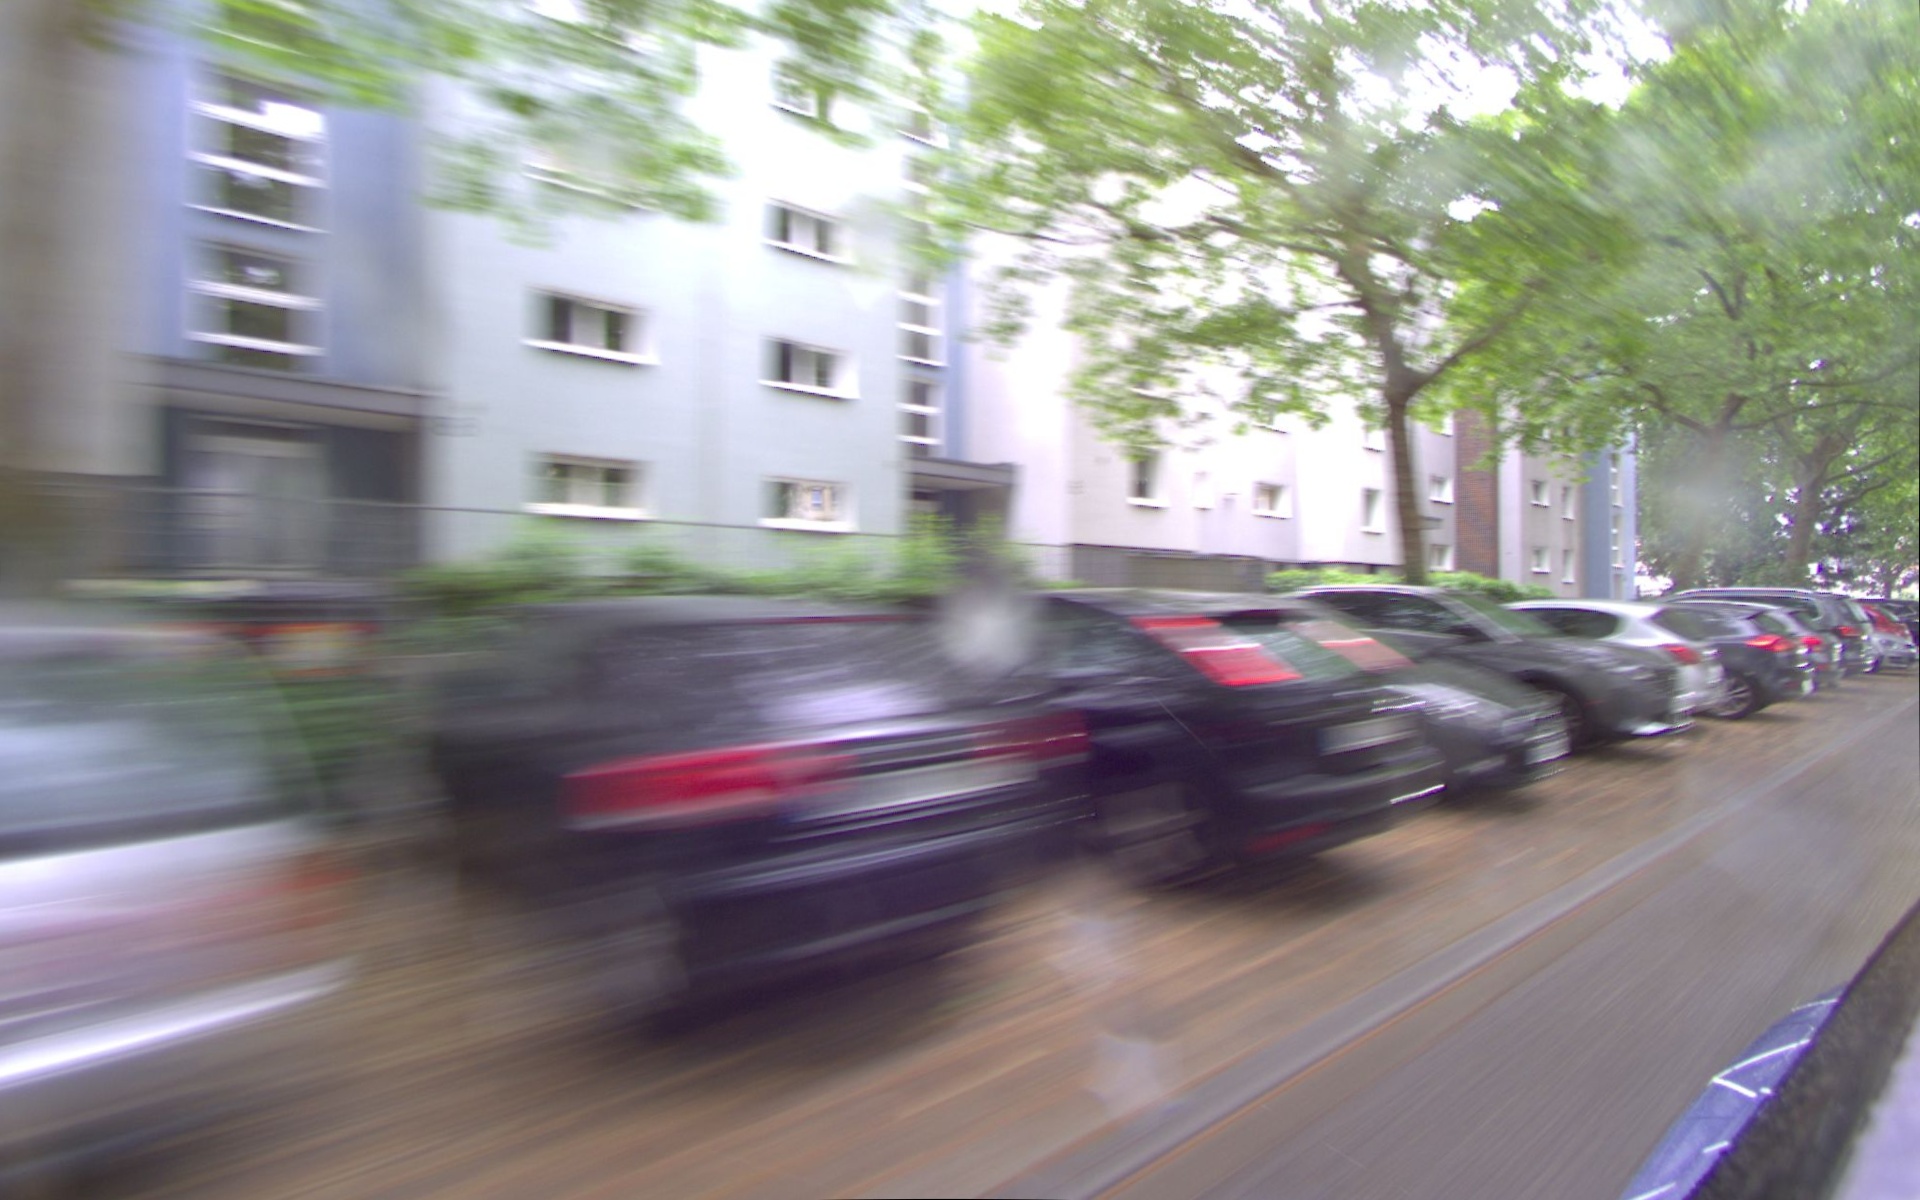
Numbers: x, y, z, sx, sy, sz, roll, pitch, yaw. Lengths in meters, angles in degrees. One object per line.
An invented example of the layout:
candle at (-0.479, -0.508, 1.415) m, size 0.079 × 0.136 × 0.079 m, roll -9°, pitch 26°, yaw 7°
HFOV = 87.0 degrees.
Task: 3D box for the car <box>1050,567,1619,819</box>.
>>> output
car at (2.828, 0.601, 8.327) m, size 1.750 × 1.550 × 4.045 m, roll 1°, pitch -1°, yaw -43°

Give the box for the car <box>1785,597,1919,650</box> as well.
car at (29.406, 0.753, 32.594) m, size 3.948 × 1.622 × 1.791 m, roll -1°, pitch -2°, yaw 20°

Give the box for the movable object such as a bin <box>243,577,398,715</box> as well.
movable object such as a bin at (-7.278, 0.485, 11.512) m, size 1.321 × 1.456 × 1.205 m, roll 1°, pitch -1°, yaw -41°

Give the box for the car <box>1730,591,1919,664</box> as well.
car at (20.948, 0.601, 24.208) m, size 1.706 × 1.556 × 3.714 m, roll 0°, pitch 1°, yaw -38°

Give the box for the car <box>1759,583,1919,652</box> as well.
car at (24.263, 0.463, 27.322) m, size 3.822 × 1.719 × 1.824 m, roll 2°, pitch -1°, yaw 22°

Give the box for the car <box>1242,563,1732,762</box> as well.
car at (5.352, 0.555, 10.730) m, size 1.880 × 1.677 × 4.216 m, roll 1°, pitch -1°, yaw -41°

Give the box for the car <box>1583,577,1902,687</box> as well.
car at (14.216, 0.570, 18.605) m, size 1.787 × 1.785 × 4.344 m, roll 1°, pitch -2°, yaw -40°

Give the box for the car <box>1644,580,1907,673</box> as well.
car at (16.959, 0.548, 21.212) m, size 1.769 × 1.750 × 3.994 m, roll 1°, pitch -2°, yaw -40°

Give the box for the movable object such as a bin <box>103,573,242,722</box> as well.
movable object such as a bin at (-8.223, 0.468, 10.568) m, size 1.094 × 1.456 × 0.865 m, roll 1°, pitch -1°, yaw -41°

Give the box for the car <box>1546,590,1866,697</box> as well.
car at (12.196, 0.682, 16.764) m, size 1.602 × 1.557 × 3.993 m, roll 1°, pitch -2°, yaw -40°

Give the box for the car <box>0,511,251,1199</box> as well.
car at (-3.413, 0.629, 3.119) m, size 1.649 × 1.598 × 3.994 m, roll 1°, pitch 0°, yaw -40°

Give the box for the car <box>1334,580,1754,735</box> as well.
car at (7.082, 0.624, 12.620) m, size 1.717 × 1.604 × 4.214 m, roll 1°, pitch -1°, yaw -43°

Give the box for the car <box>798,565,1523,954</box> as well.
car at (0.876, 0.630, 6.165) m, size 1.832 × 1.533 × 4.108 m, roll 1°, pitch 0°, yaw -40°

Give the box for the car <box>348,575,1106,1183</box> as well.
car at (-1.403, 0.670, 4.502) m, size 1.649 × 1.456 × 3.994 m, roll 1°, pitch 0°, yaw -40°

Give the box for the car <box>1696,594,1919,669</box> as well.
car at (18.934, 0.687, 22.381) m, size 1.770 × 1.532 × 3.991 m, roll 1°, pitch -2°, yaw -42°

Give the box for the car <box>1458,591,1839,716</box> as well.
car at (9.248, 0.677, 13.842) m, size 1.657 × 1.460 × 4.038 m, roll 1°, pitch -2°, yaw -43°
